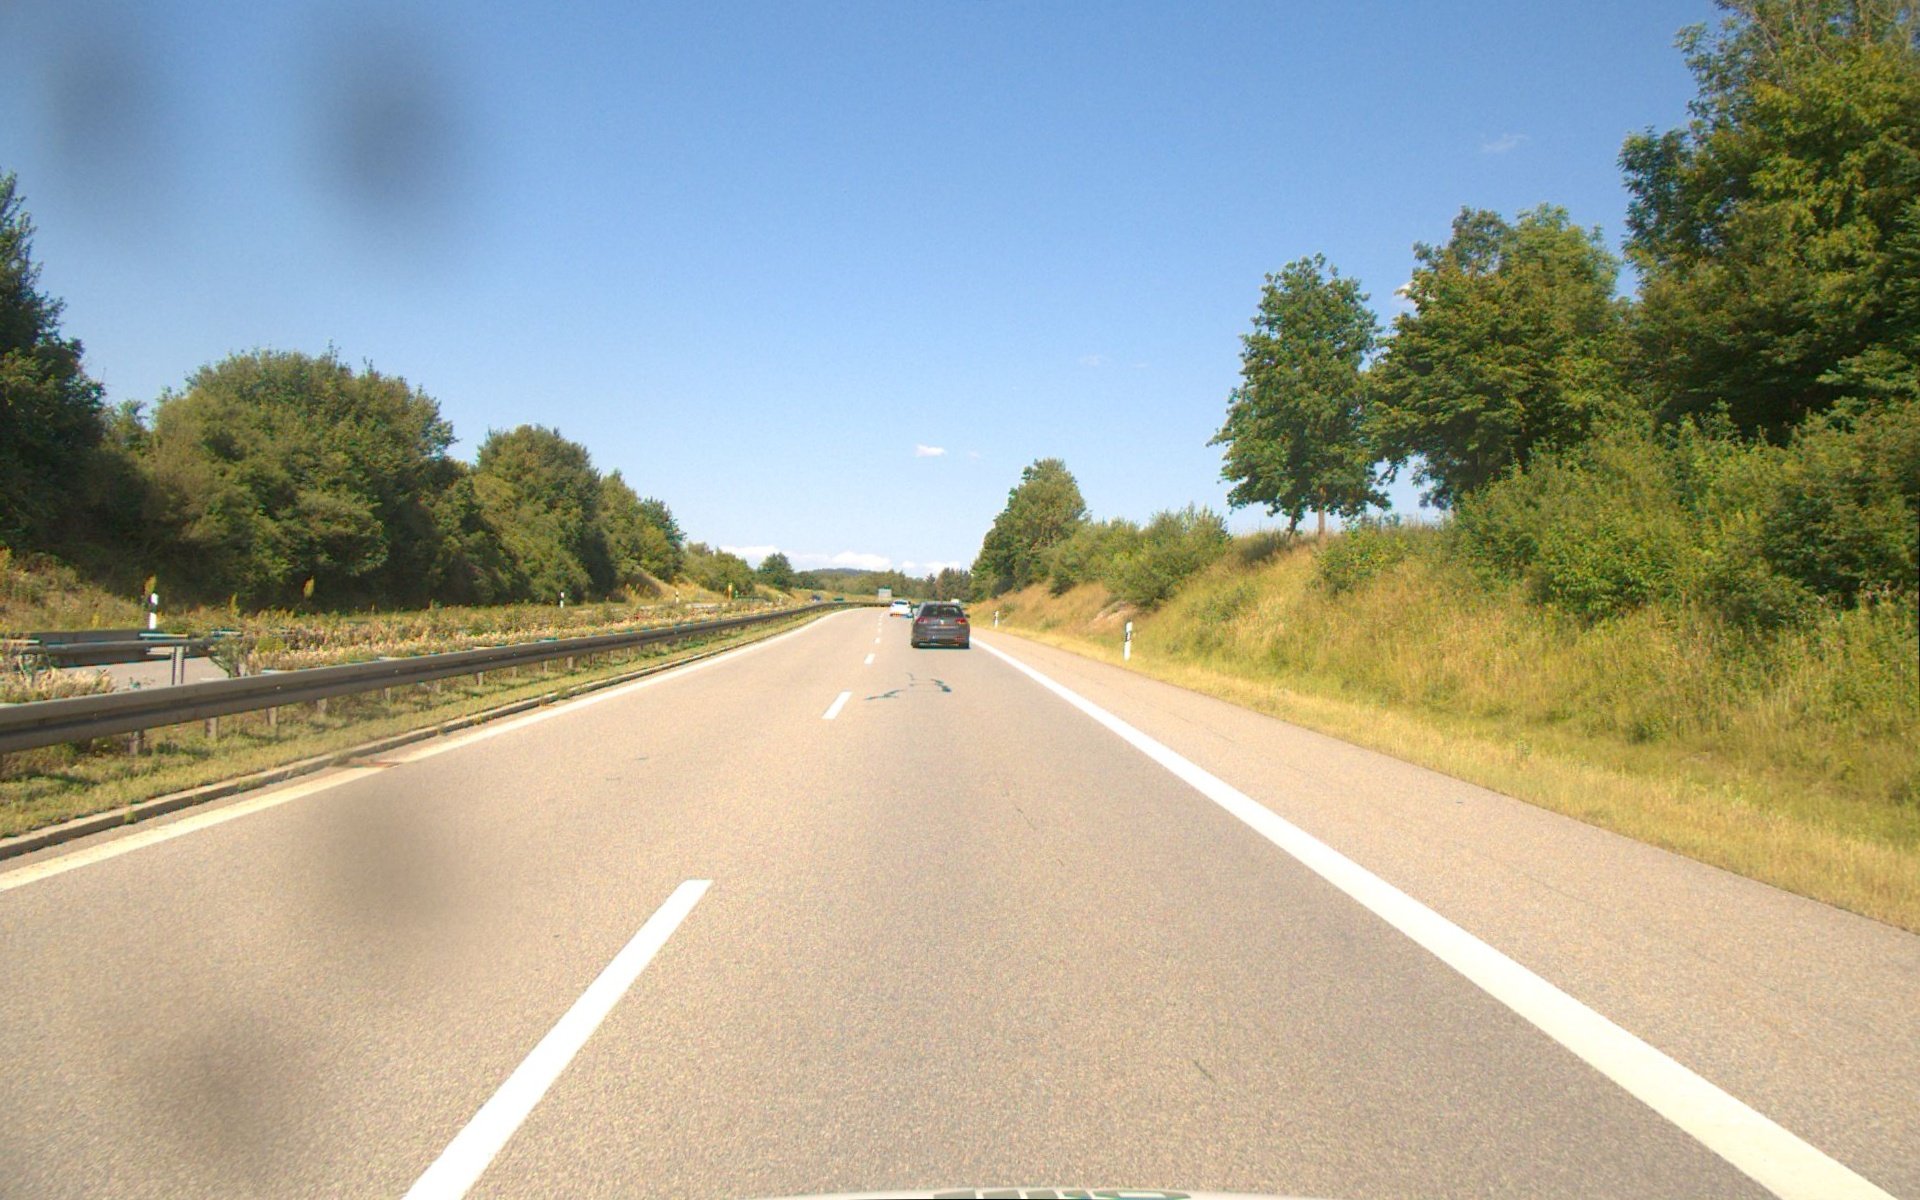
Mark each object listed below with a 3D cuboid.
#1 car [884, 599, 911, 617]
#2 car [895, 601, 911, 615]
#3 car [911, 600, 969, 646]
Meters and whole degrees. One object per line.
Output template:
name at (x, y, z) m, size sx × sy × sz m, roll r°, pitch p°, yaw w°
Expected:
car at (-5.453, 0.703, 143.438) m, size 1.969 × 1.367 × 3.995 m, roll 6°, pitch -1°, yaw -5°
car at (-6.586, 0.916, 191.927) m, size 1.676 × 1.411 × 3.354 m, roll 6°, pitch -1°, yaw -1°
car at (-0.651, 0.706, 51.988) m, size 1.755 × 1.368 × 3.999 m, roll 0°, pitch 0°, yaw -1°
